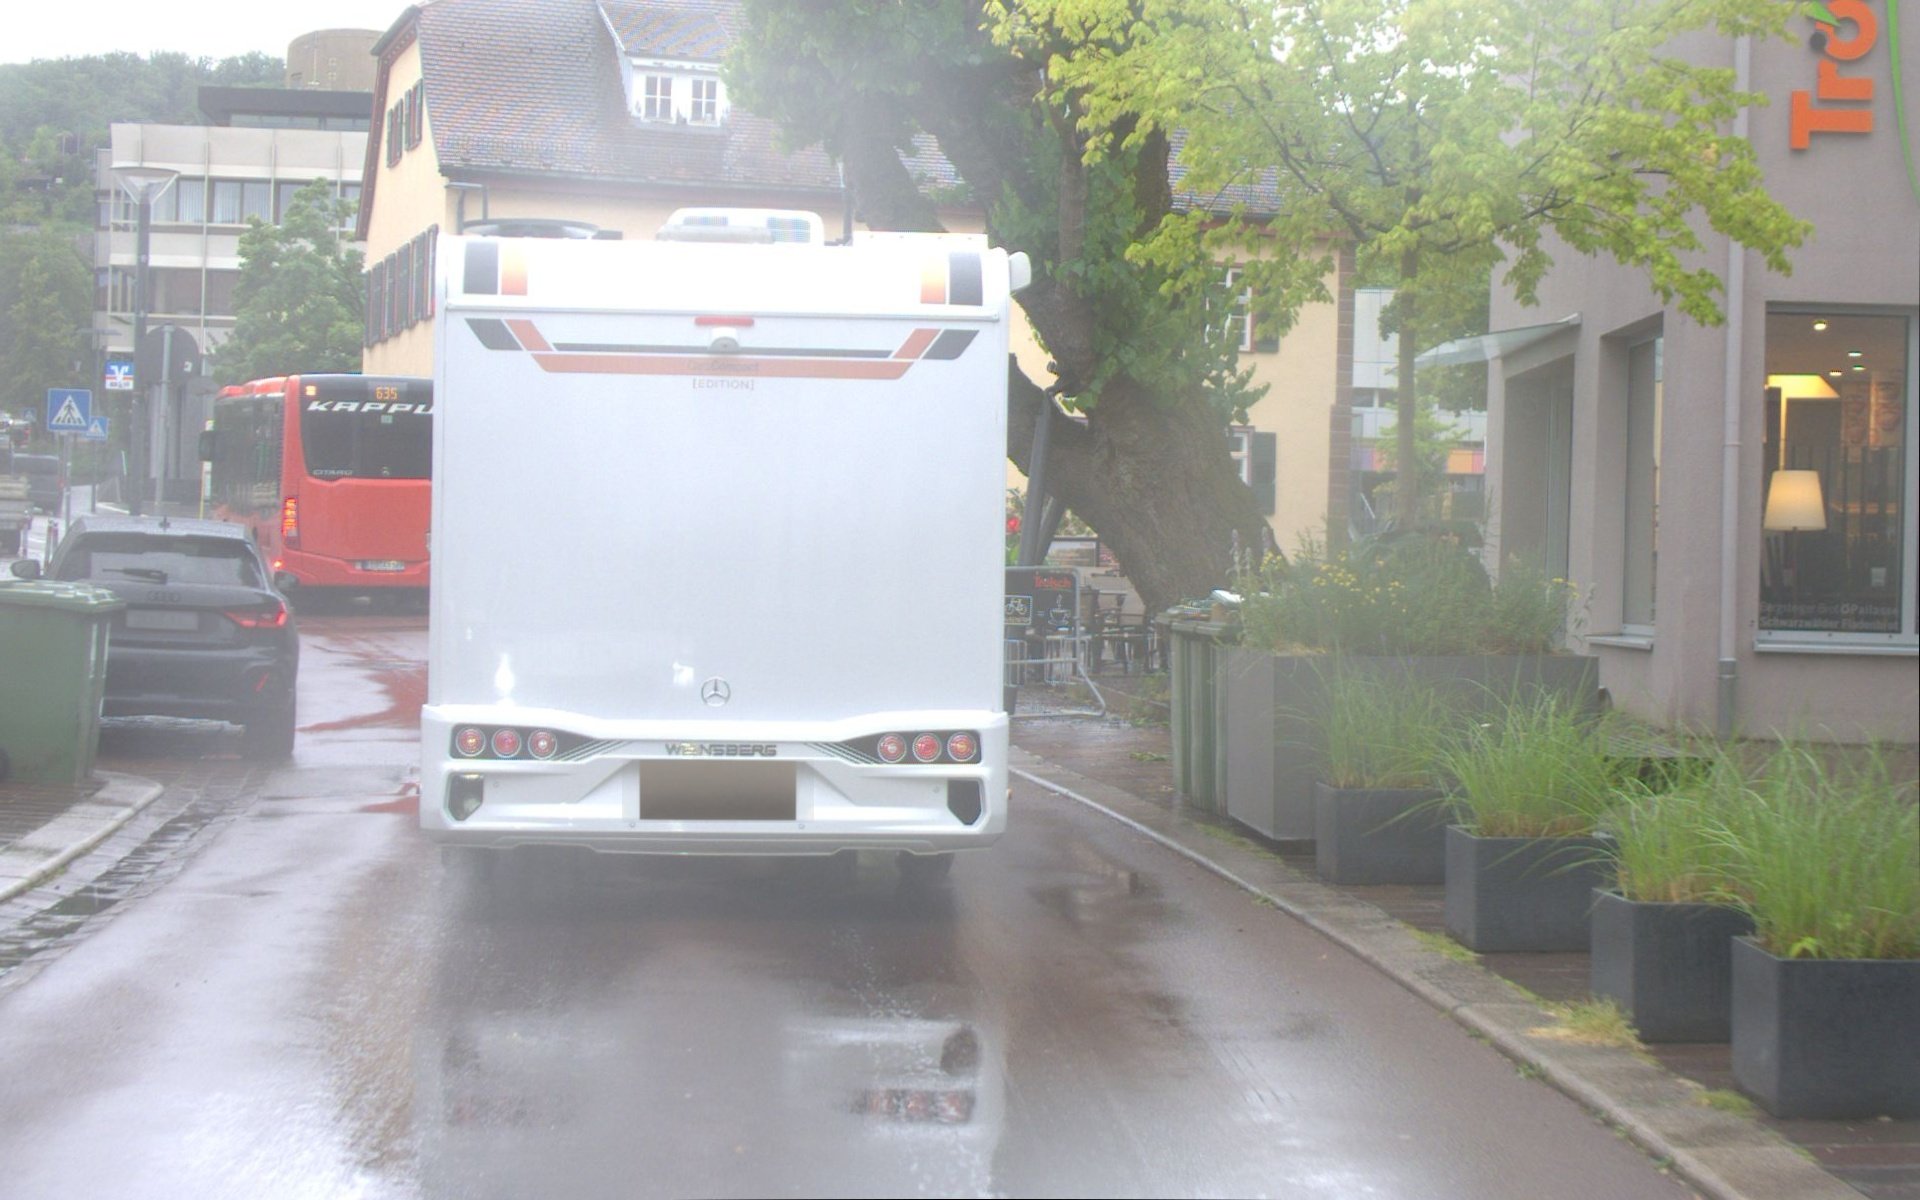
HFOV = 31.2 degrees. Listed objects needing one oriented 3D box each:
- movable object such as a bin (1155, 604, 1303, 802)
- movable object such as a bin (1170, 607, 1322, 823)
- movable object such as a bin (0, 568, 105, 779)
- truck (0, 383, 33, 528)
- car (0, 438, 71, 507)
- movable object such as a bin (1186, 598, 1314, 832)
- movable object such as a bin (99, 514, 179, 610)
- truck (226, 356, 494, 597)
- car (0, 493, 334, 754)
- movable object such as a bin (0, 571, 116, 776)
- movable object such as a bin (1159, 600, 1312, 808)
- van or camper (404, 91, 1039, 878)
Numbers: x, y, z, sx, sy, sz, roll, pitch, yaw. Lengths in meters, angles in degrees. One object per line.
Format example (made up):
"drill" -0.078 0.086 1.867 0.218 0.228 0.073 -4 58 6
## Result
"movable object such as a bin" 1.499 0.568 19.245 0.728 1.076 0.577 1 0 -4
"movable object such as a bin" 1.491 0.595 18.006 0.692 1.098 0.562 1 0 -4
"movable object such as a bin" -4.980 0.388 18.546 0.630 1.109 0.734 1 0 -9
"truck" -20.065 -2.884 69.151 2.279 2.748 5.570 1 0 -20
"car" -29.292 -3.998 108.670 1.993 2.007 4.001 1 0 -19
"movable object such as a bin" 1.464 0.574 17.415 0.543 1.152 0.577 1 0 -4
"movable object such as a bin" -9.128 -0.421 38.209 0.818 1.047 0.700 1 0 -16
"truck" -8.088 -1.561 45.774 2.461 2.929 6.200 1 0 -20
"car" -5.368 0.094 22.953 1.993 1.489 4.002 3 1 -14
"movable object such as a bin" -5.108 0.403 19.306 0.630 1.119 0.734 1 0 -9
"movable object such as a bin" 1.491 0.557 18.664 0.728 1.098 0.562 1 0 -4
"van or camper" -1.233 -0.437 16.131 2.325 2.909 6.394 1 0 -6
